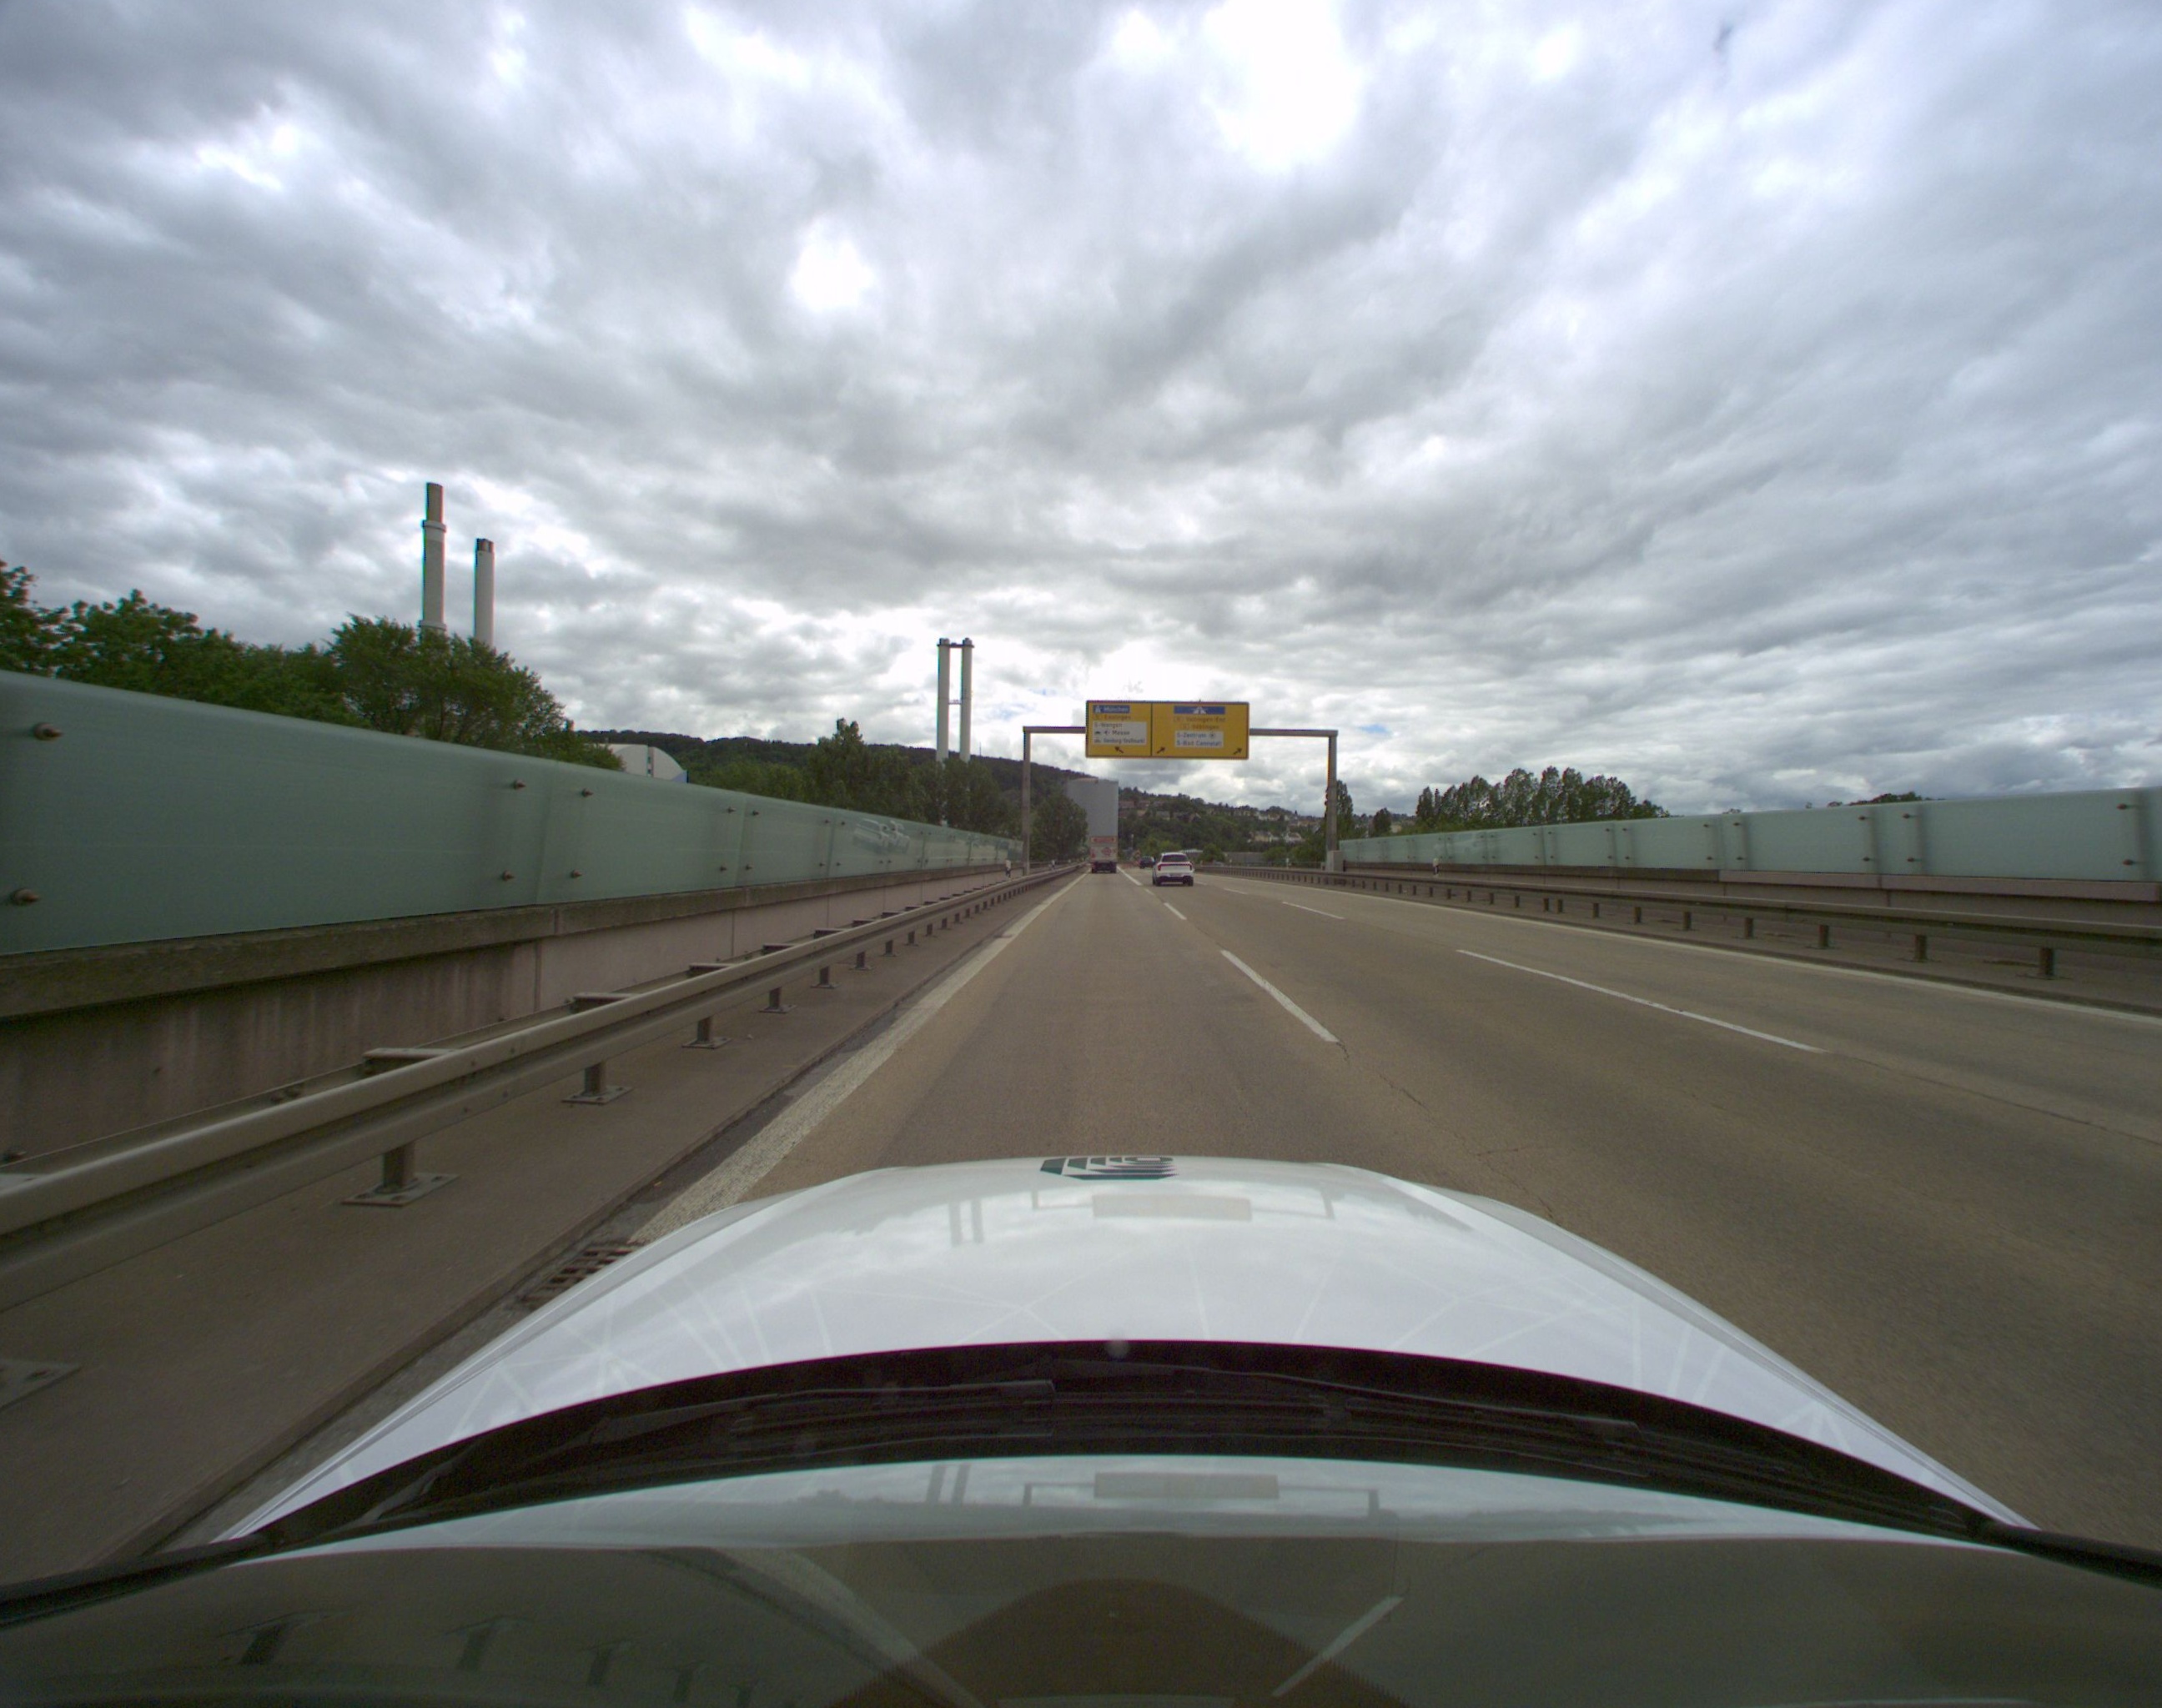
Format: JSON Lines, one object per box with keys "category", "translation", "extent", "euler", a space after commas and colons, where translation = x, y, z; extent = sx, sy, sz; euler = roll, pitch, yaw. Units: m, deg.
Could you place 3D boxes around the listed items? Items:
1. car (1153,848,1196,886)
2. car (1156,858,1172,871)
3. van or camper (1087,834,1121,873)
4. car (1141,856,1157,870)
{"category": "car", "translation": [4.690, 0.622, 41.418], "extent": [1.916, 1.785, 4.116], "euler": [-1, 0, 3]}
{"category": "car", "translation": [12.170, 1.474, 119.222], "extent": [1.918, 1.785, 4.112], "euler": [-1, 0, 0]}
{"category": "van or camper", "translation": [2.352, -0.038, 79.648], "extent": [3.109, 3.579, 8.555], "euler": [-1, -1, 3]}
{"category": "car", "translation": [8.870, 1.171, 107.095], "extent": [1.916, 1.785, 4.115], "euler": [-1, 0, 2]}
